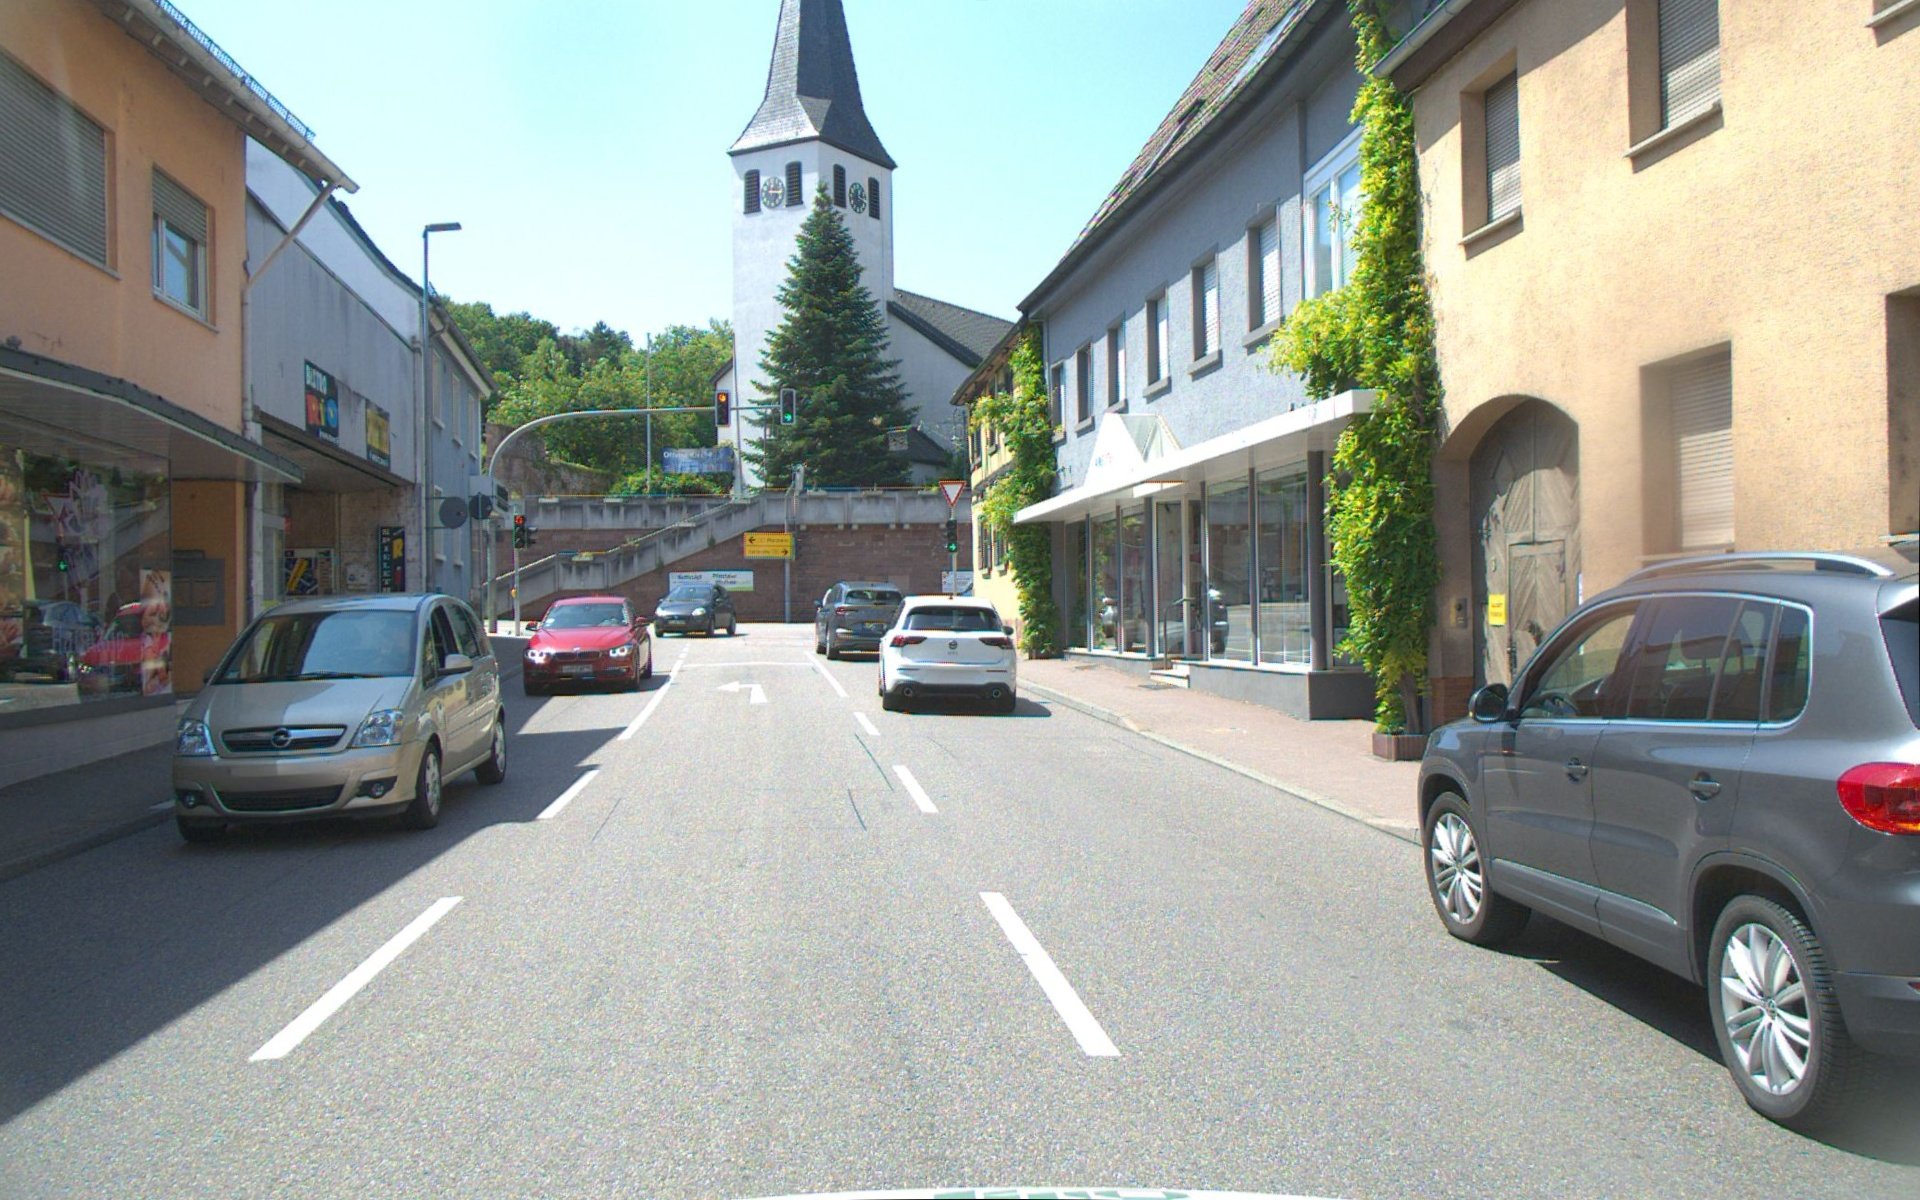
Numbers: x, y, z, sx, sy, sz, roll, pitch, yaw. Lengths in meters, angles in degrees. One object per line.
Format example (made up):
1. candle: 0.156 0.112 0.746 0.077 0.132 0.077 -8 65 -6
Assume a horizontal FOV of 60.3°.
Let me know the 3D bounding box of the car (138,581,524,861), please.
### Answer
1. car: -4.452 0.733 12.325 1.647 1.645 3.817 -3 1 -5

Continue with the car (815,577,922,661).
1. car: -2.039 0.357 35.860 1.913 1.610 4.318 0 2 -9

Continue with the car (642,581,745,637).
1. car: -7.648 0.226 47.862 1.681 1.447 3.824 -2 1 11

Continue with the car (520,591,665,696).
1. car: -5.925 0.649 27.138 1.684 1.433 4.281 -3 1 -5

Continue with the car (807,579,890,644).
1. car: -3.105 0.270 45.416 1.913 1.610 4.318 0 2 -9

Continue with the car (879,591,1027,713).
1. car: -0.175 0.632 22.352 1.747 1.484 3.860 -1 0 -4

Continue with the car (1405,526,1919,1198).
1. car: 3.317 0.629 6.121 1.954 1.738 4.098 -3 0 -4
